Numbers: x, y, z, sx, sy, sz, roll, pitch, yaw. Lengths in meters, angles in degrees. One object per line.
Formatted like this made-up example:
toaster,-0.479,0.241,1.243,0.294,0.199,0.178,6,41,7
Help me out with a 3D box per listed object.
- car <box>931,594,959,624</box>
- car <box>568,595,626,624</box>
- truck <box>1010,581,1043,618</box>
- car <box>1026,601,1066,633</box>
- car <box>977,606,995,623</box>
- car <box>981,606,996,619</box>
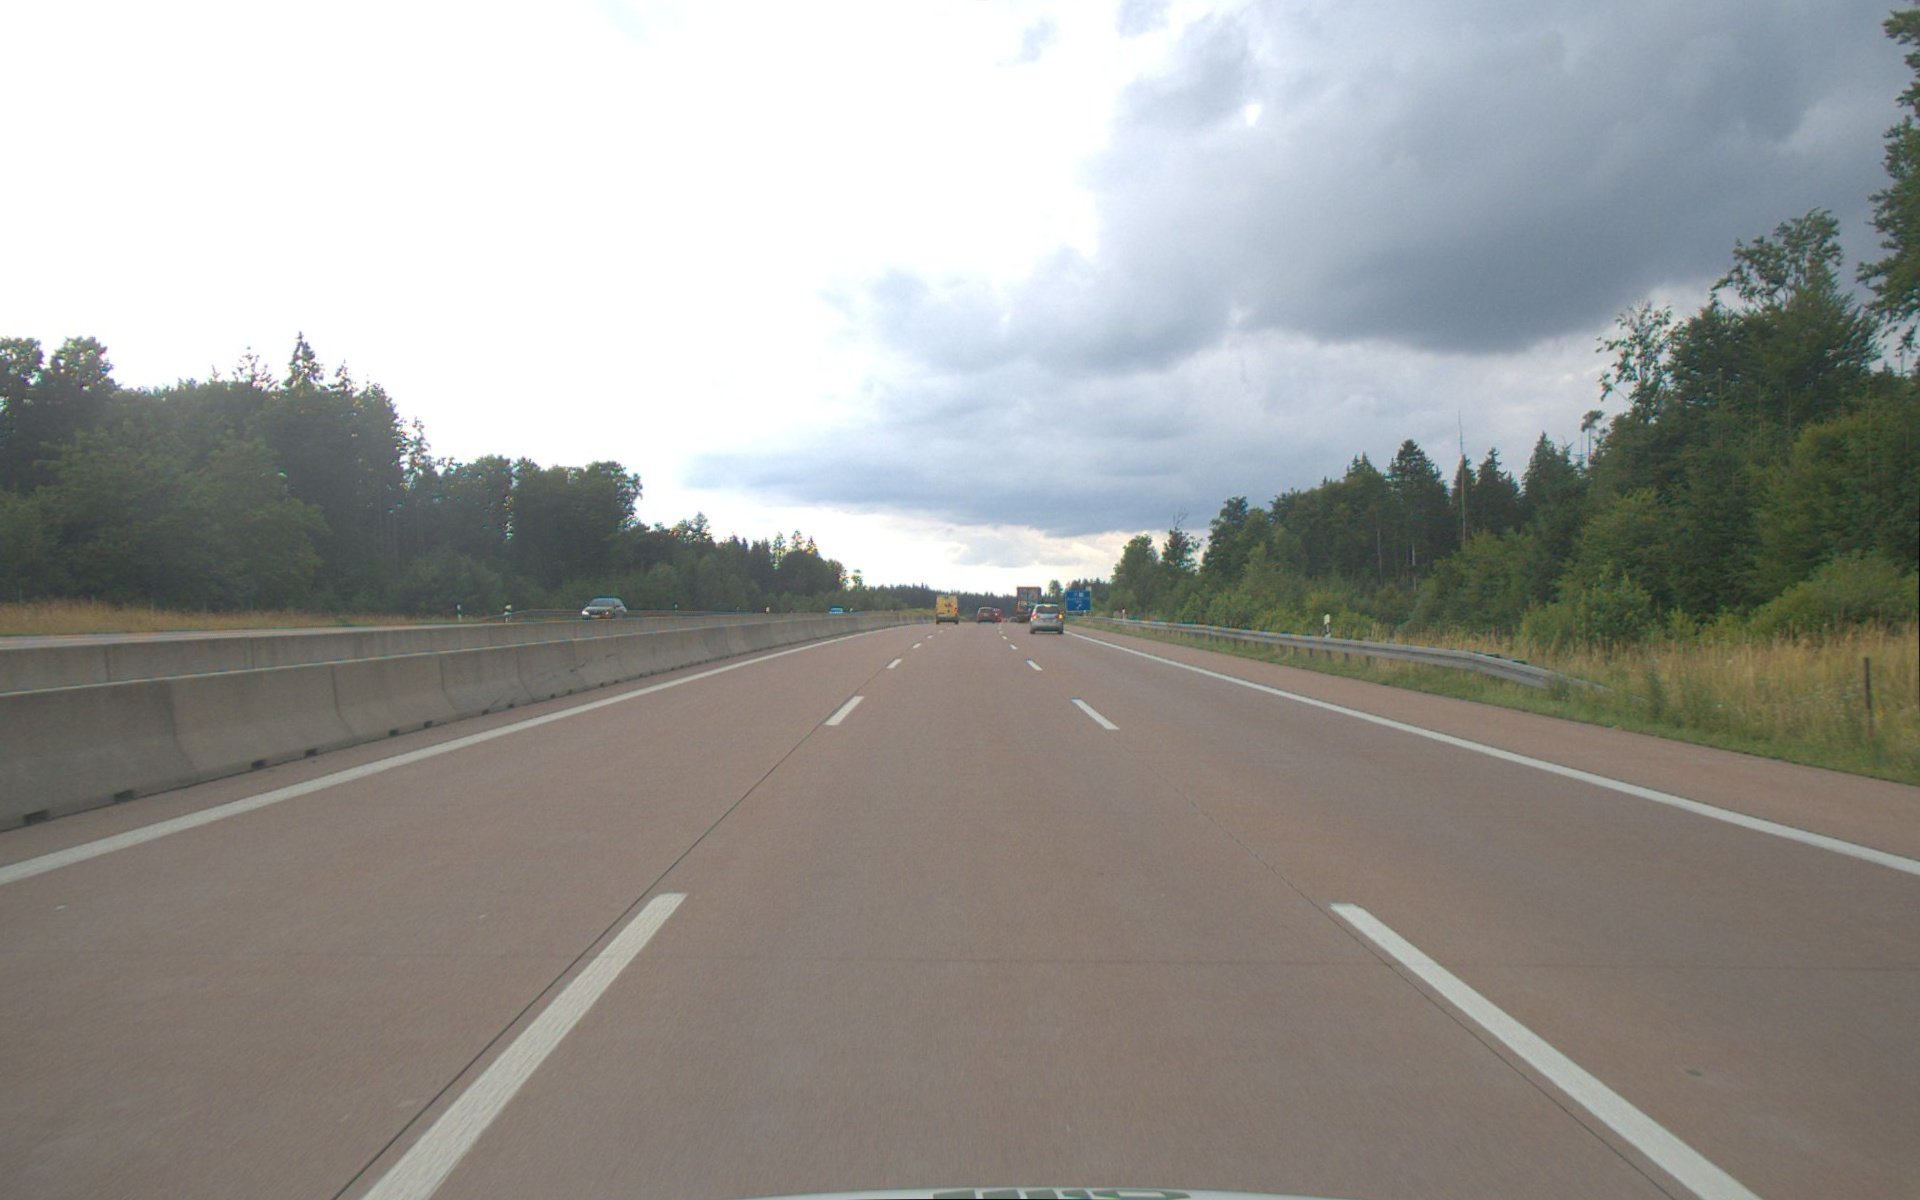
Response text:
car,-1.359,0.824,155.622,2.407,2.753,5.615,0,0,2
car,-20.393,0.539,93.101,2.171,1.594,4.850,0,0,1
truck,7.699,0.001,191.022,3.604,3.981,12.819,1,-1,2
car,4.608,0.886,88.841,1.937,1.676,4.619,1,0,1
car,2.778,1.562,177.760,1.848,1.795,4.782,0,0,1
car,3.798,1.656,222.085,1.848,1.795,4.999,0,0,3
